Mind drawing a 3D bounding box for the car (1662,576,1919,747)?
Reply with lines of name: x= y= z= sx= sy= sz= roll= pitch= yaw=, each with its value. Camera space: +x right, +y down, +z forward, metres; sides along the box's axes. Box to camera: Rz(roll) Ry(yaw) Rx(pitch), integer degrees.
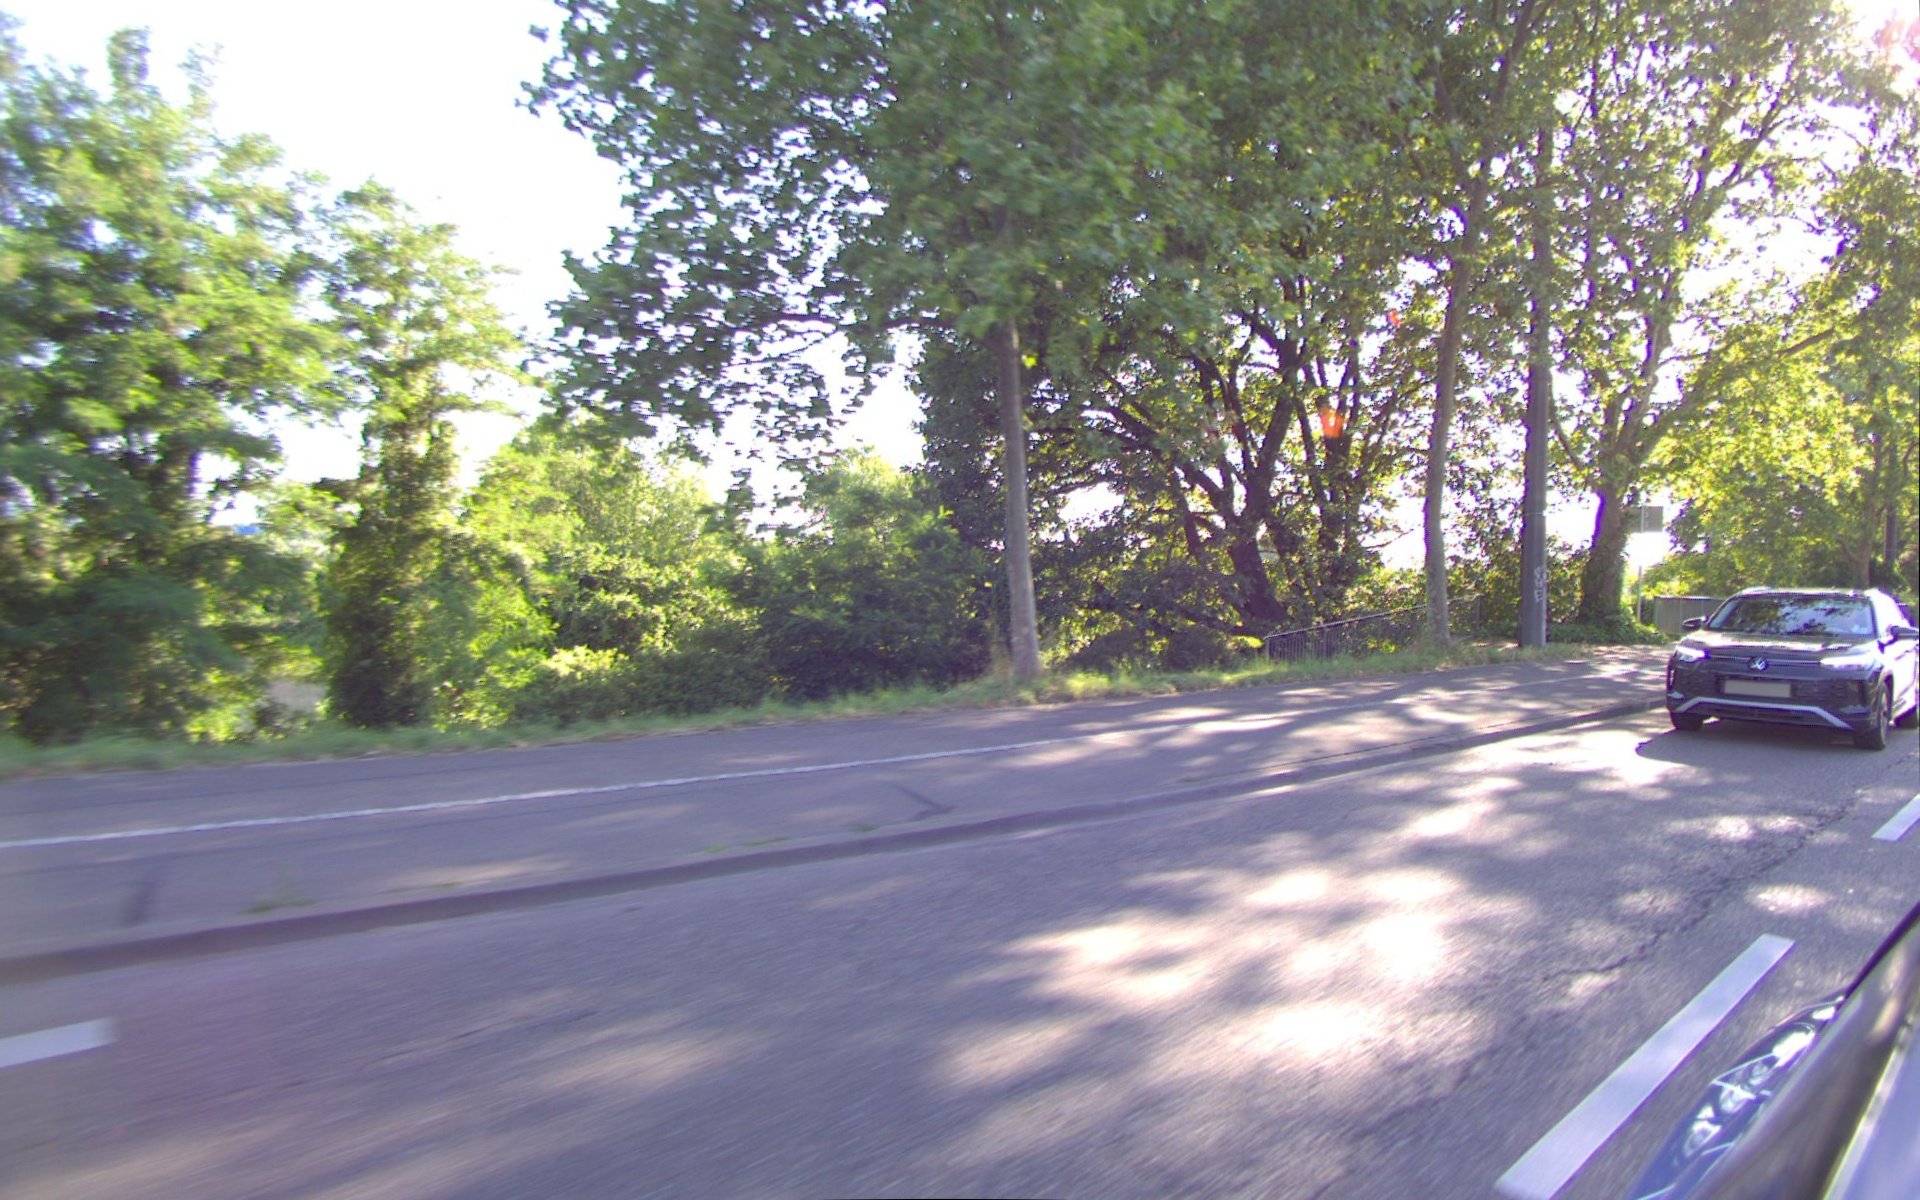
car: x=9.916 y=0.532 z=11.685 sx=4.338 sy=1.620 sz=1.880 roll=-1 pitch=1 yaw=-40
